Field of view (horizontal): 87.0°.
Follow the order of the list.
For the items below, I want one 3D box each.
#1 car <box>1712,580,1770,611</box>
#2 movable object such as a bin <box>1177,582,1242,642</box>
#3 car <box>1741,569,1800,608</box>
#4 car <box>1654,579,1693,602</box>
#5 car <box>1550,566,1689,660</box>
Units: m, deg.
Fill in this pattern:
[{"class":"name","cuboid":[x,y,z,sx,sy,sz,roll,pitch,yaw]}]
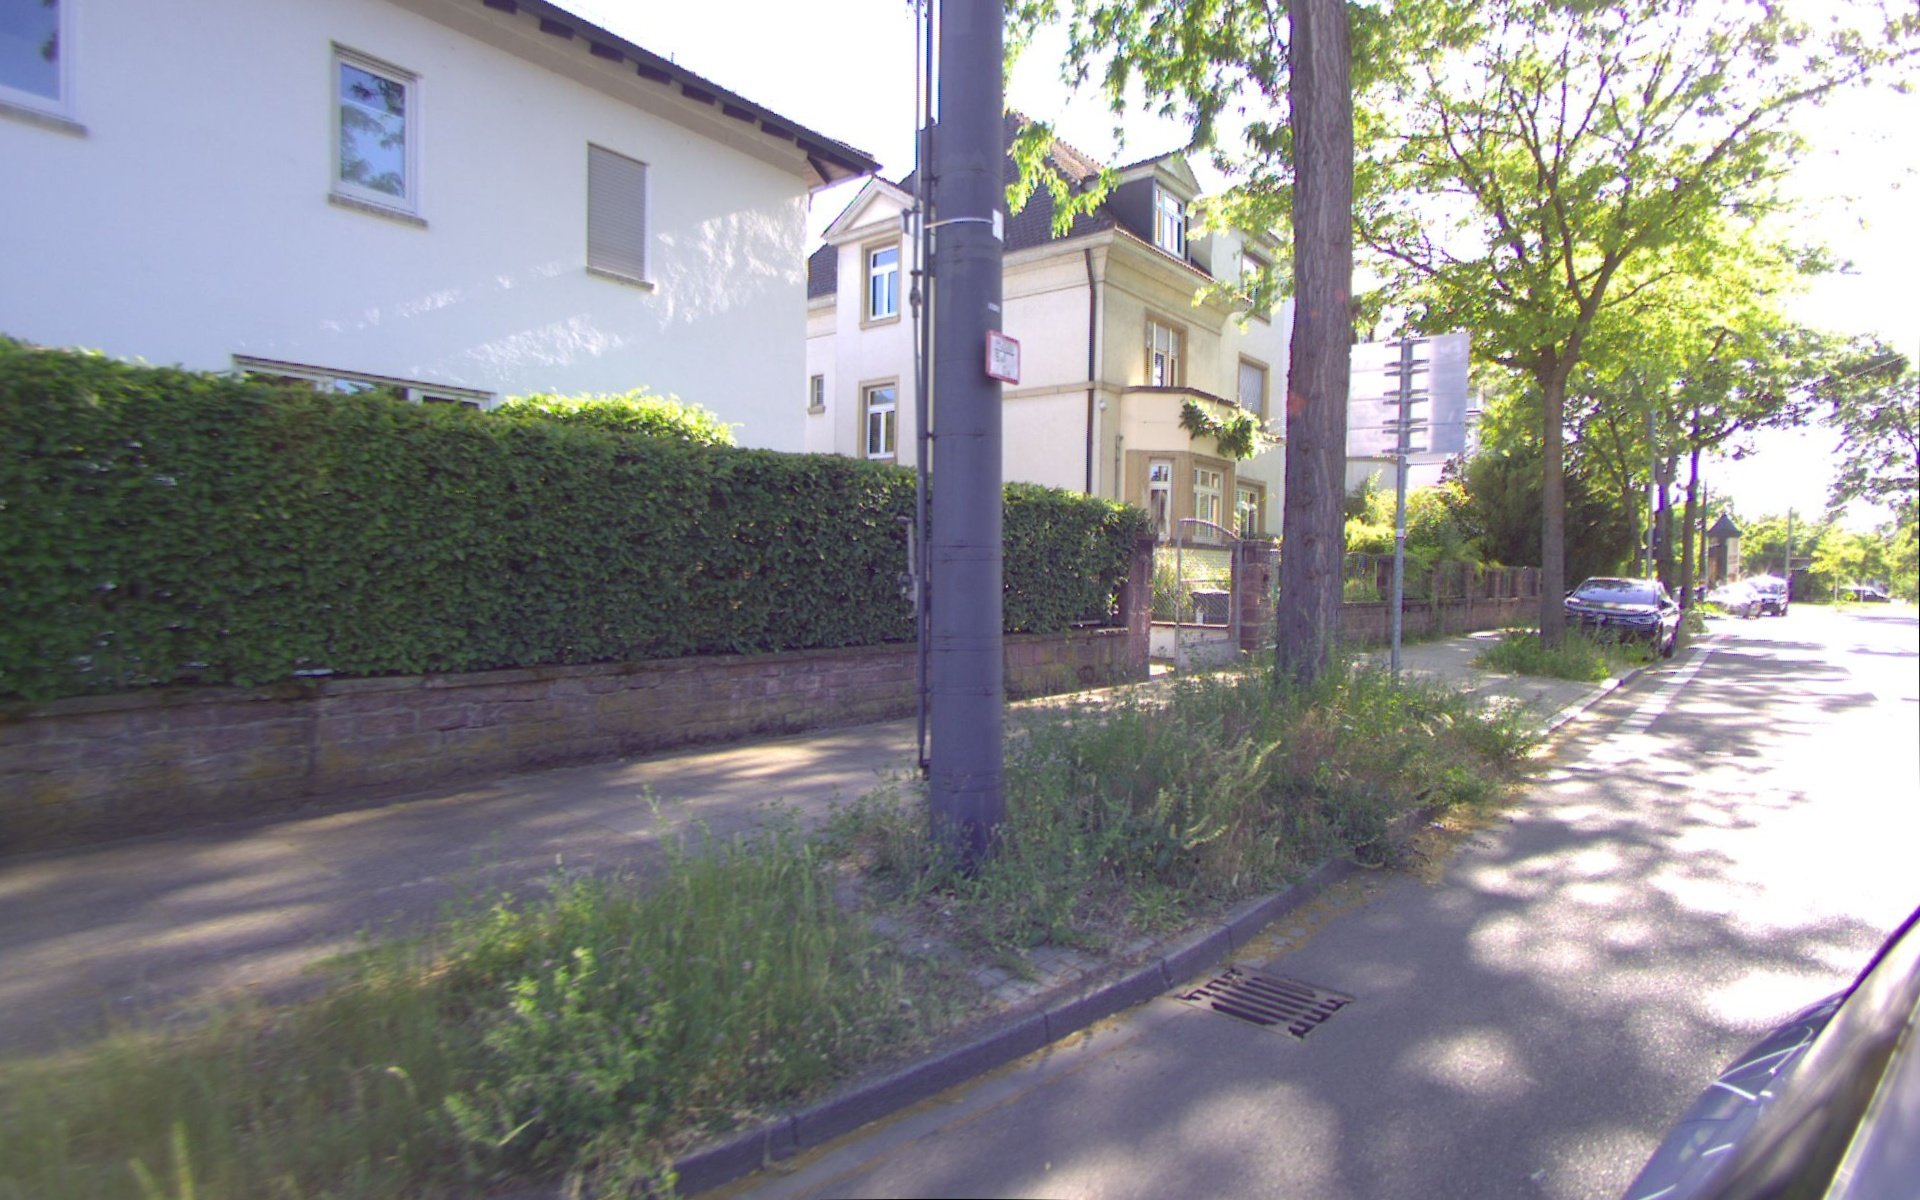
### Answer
[{"class":"car","cuboid":[35.884,-0.237,46.449,1.715,1.356,3.856,2,2,44]},{"class":"movable object such as a bin","cuboid":[4.607,0.201,18.714,0.712,1.068,0.969,0,1,-24]},{"class":"car","cuboid":[40.587,-0.608,50.651,1.900,1.852,4.181,2,2,44]},{"class":"car","cuboid":[48.563,-0.673,68.865,1.736,1.460,3.940,2,2,42]},{"class":"car","cuboid":[13.912,0.178,21.262,1.991,1.765,4.111,1,2,40]}]
